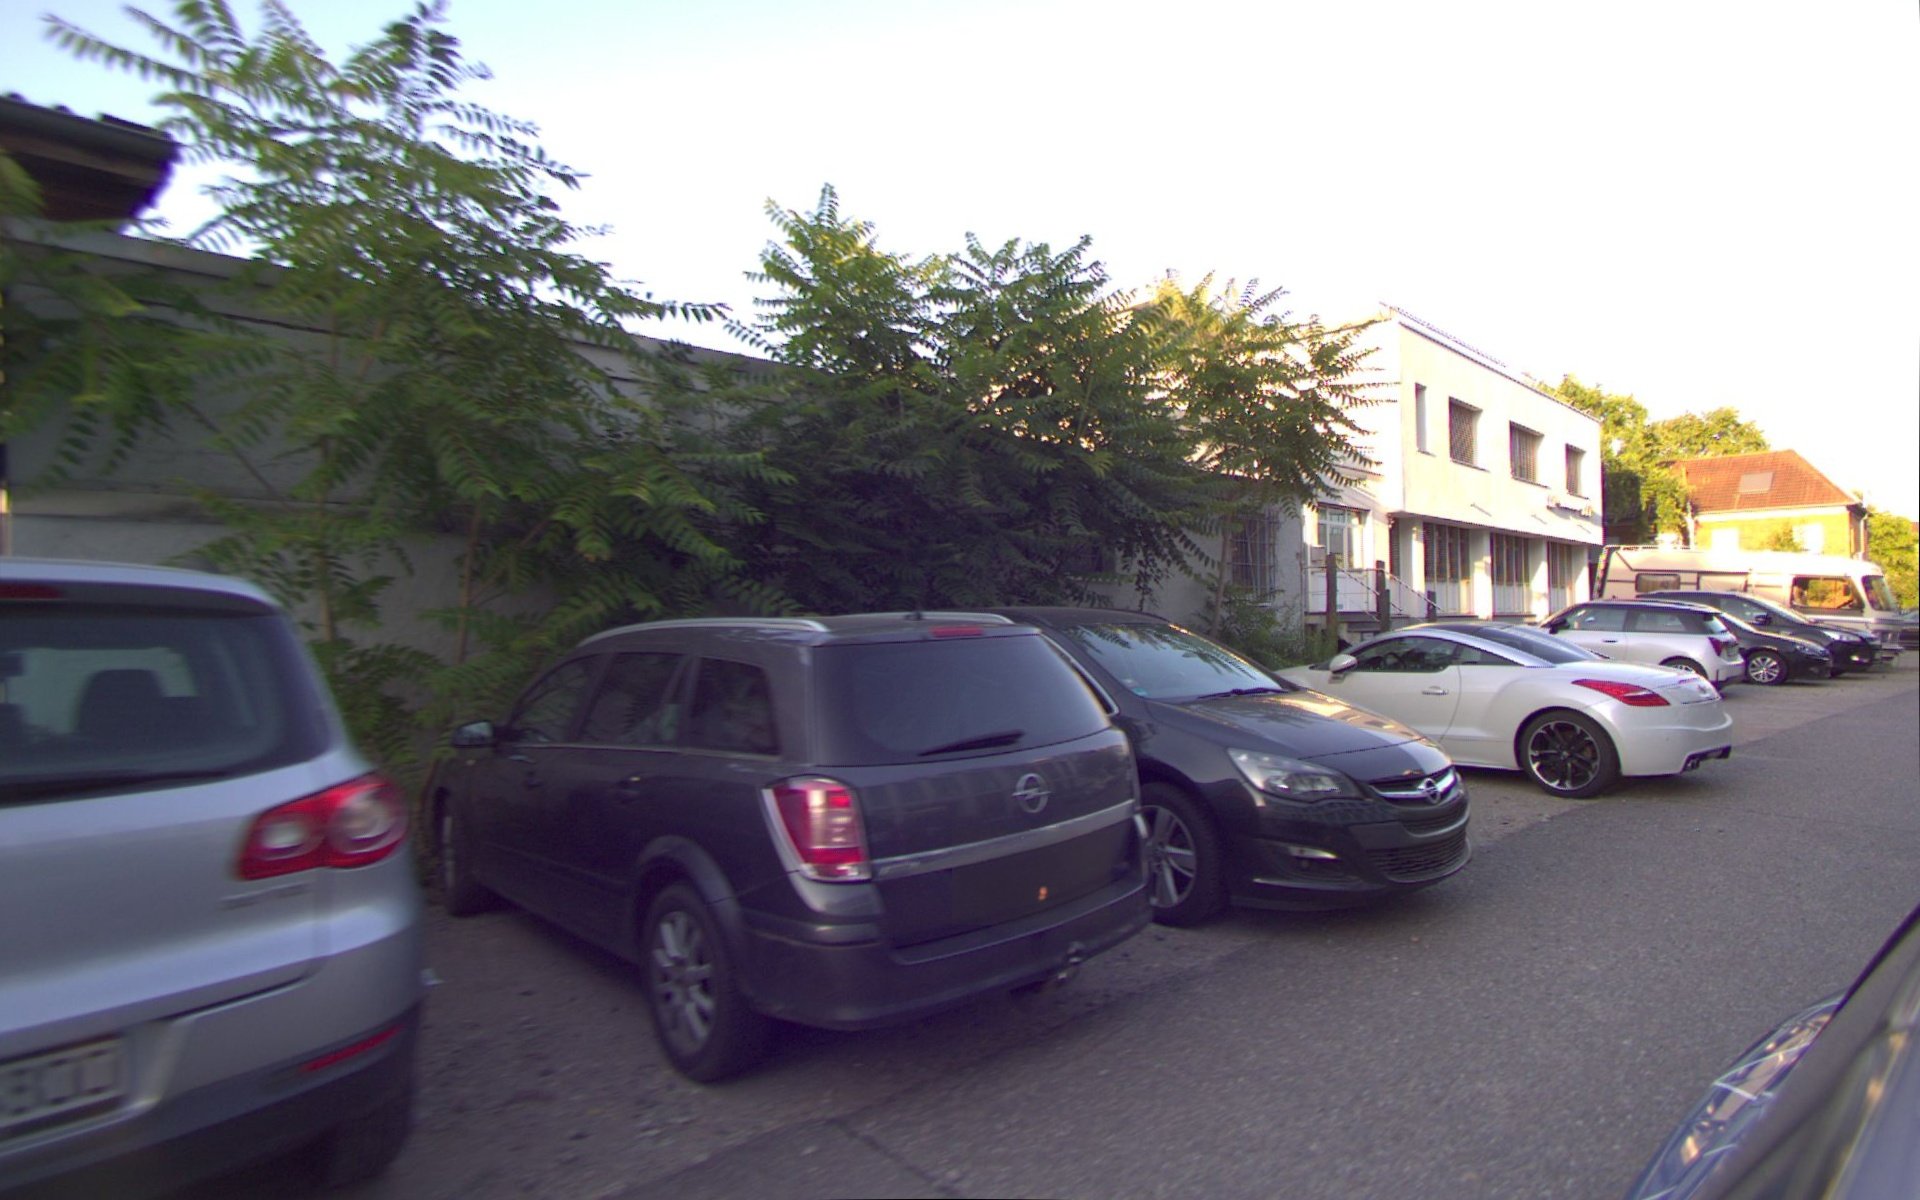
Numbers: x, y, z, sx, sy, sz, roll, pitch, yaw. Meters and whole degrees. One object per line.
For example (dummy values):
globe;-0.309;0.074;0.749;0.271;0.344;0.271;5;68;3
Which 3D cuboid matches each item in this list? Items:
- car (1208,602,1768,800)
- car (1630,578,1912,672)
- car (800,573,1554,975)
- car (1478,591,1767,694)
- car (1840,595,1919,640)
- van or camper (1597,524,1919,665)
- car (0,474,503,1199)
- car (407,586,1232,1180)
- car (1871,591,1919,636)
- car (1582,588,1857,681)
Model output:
car;4.561;0.780;9.372;1.789;1.385;4.213;0;-2;-36
car;16.820;0.442;21.198;1.930;1.763;4.254;0;0;-35
car;0.905;0.716;6.116;1.856;1.522;4.211;-1;-1;-38
car;10.828;0.608;16.729;1.682;1.497;3.710;0;0;-41
car;30.043;0.541;31.118;1.864;1.350;4.321;-1;1;-42
van or camper;18.663;-0.145;23.793;2.444;2.900;5.789;0;0;-41
car;-2.985;0.684;2.987;1.796;1.640;3.986;0;-2;-43
car;-1.006;0.765;4.637;1.796;1.464;3.988;-1;-1;-42
car;32.031;0.454;32.448;1.863;1.425;4.061;1;0;-42
car;14.437;0.585;19.393;1.684;1.583;4.007;0;0;-44
